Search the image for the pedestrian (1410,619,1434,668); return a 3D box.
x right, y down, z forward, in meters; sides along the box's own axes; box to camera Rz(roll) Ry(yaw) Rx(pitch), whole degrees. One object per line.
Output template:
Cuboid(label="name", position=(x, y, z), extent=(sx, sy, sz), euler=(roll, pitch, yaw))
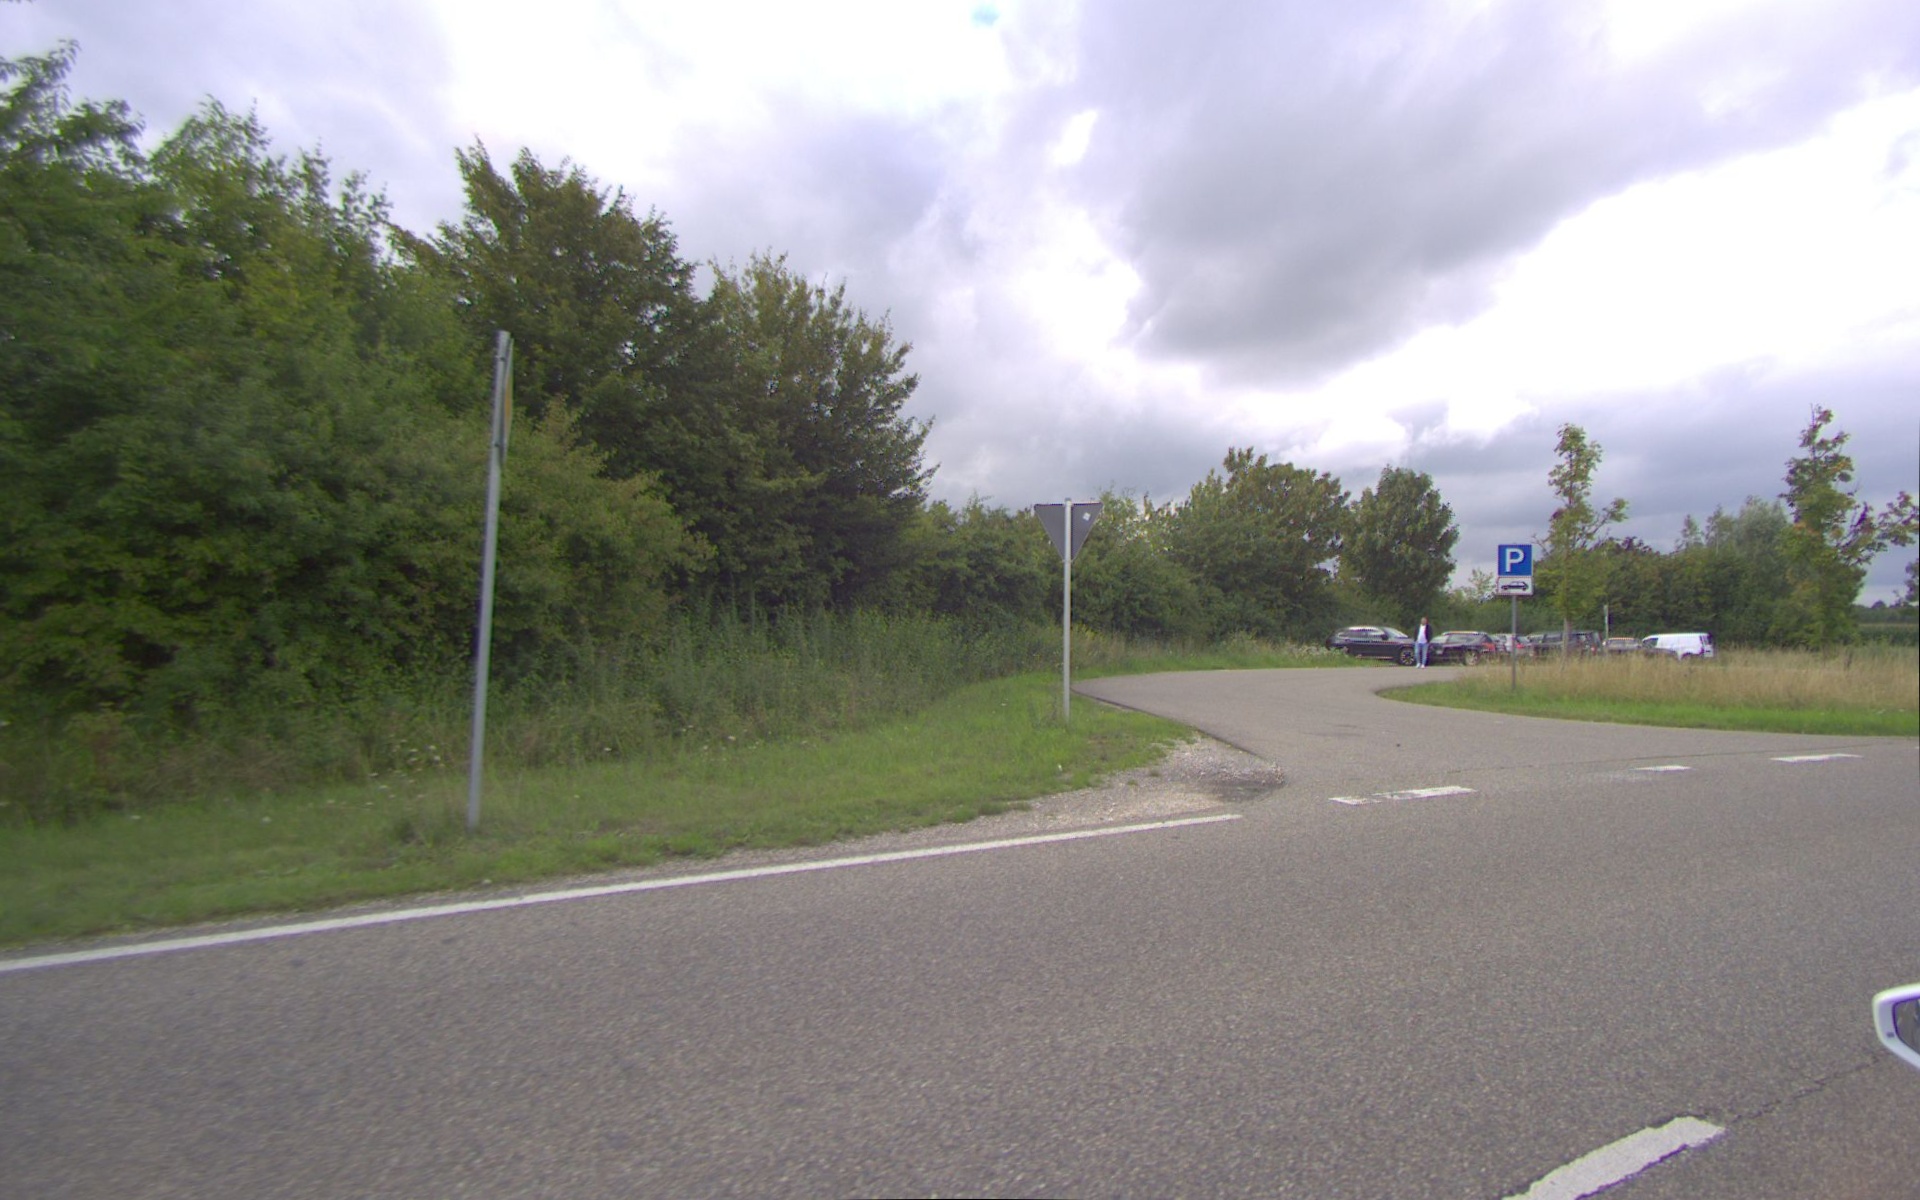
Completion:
Cuboid(label="pedestrian", position=(16.073, 1.499, 34.945), extent=(0.654, 1.689, 0.512), euler=(1, -1, -34))

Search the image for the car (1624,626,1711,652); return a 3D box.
Cuboid(label="car", position=(41.110, 2.230, 58.398), extent=(1.465, 1.398, 3.951), euler=(1, -1, -42))

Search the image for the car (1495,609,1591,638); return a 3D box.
Cuboid(label="car", position=(29.033, 1.157, 50.113), extent=(3.943, 1.398, 1.468), euler=(0, -1, 42))

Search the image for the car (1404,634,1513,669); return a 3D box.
Cuboid(label="car", position=(22.039, 2.254, 44.547), extent=(1.807, 1.398, 3.959), euler=(1, -1, -36))

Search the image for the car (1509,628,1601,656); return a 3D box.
Cuboid(label="car", position=(31.119, 2.178, 52.610), extent=(3.944, 1.398, 1.467), euler=(0, -1, 43))

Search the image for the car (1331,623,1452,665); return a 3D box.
Cuboid(label="car", position=(17.446, 1.742, 40.770), extent=(1.743, 1.587, 4.206), euler=(1, -1, -39))

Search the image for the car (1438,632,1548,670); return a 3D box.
Cuboid(label="car", position=(24.831, 2.346, 46.917), extent=(1.741, 1.587, 4.212), euler=(1, -1, -35))

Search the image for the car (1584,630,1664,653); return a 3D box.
Cuboid(label="car", position=(37.978, 2.358, 57.504), extent=(1.320, 1.182, 3.581), euler=(1, -1, -36))
